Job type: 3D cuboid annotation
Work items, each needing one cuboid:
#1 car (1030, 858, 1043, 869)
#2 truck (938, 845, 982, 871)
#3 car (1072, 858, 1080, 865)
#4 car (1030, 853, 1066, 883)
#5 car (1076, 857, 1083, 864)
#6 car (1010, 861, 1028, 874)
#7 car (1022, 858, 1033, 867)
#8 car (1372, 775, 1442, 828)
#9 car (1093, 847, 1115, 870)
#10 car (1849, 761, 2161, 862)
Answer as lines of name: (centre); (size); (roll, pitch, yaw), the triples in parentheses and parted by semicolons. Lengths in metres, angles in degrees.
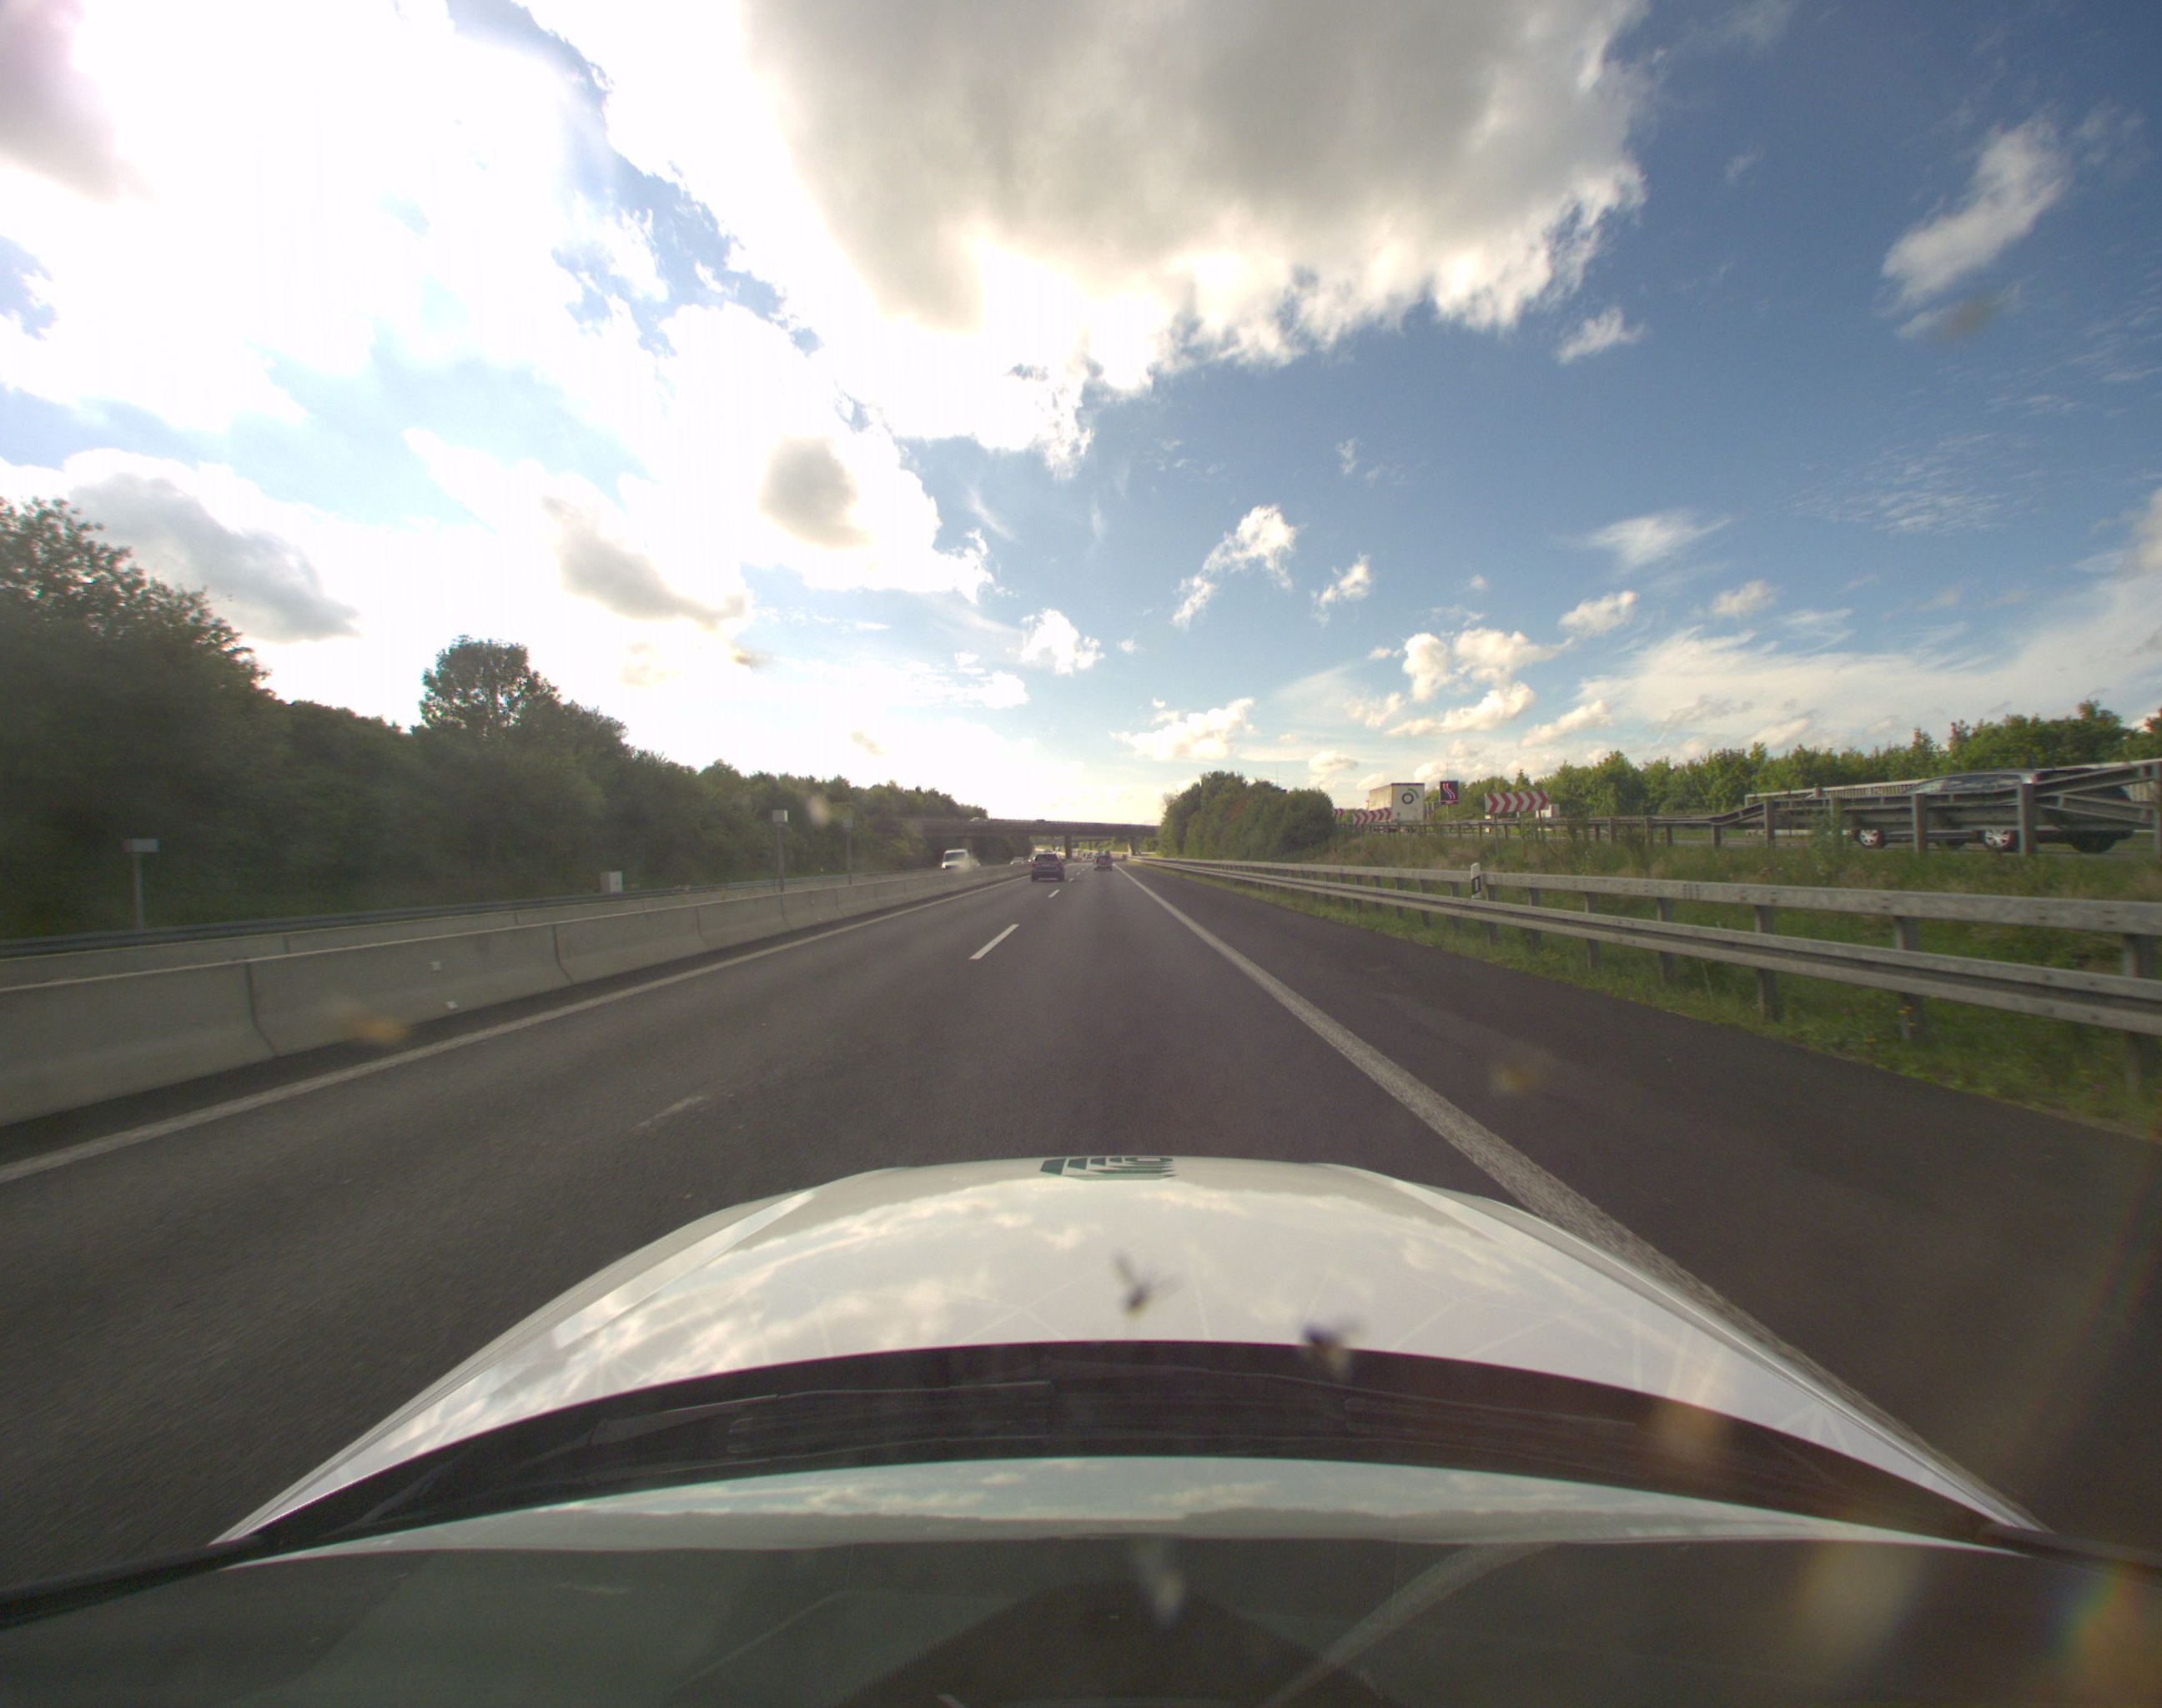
car: (-8.230, 1.704, 150.152); (1.986, 1.896, 5.142); (-3, 0, 1)
truck: (-10.175, 0.319, 69.323); (2.367, 2.013, 7.438); (-3, 0, 1)
car: (-1.391, 2.143, 229.771); (1.986, 2.013, 4.001); (-3, 0, 1)
car: (-1.964, 0.815, 49.407); (1.742, 1.630, 3.611); (-3, 0, 3)
car: (-0.495, 1.938, 252.051); (1.986, 2.013, 4.001); (-3, 0, 1)
car: (-8.861, 1.876, 116.522); (1.986, 1.648, 5.196); (-3, 0, 1)
car: (-12.103, 1.892, 183.167); (1.986, 1.896, 4.823); (-3, 0, 1)
car: (26.509, -4.163, 66.607); (3.556, 3.676, 7.567); (-3, 0, 9)
car: (2.232, 0.470, 80.078); (1.986, 2.081, 4.001); (-3, 0, 2)
car: (18.502, -0.756, 16.567); (1.986, 1.717, 4.001); (-3, 0, 2)
